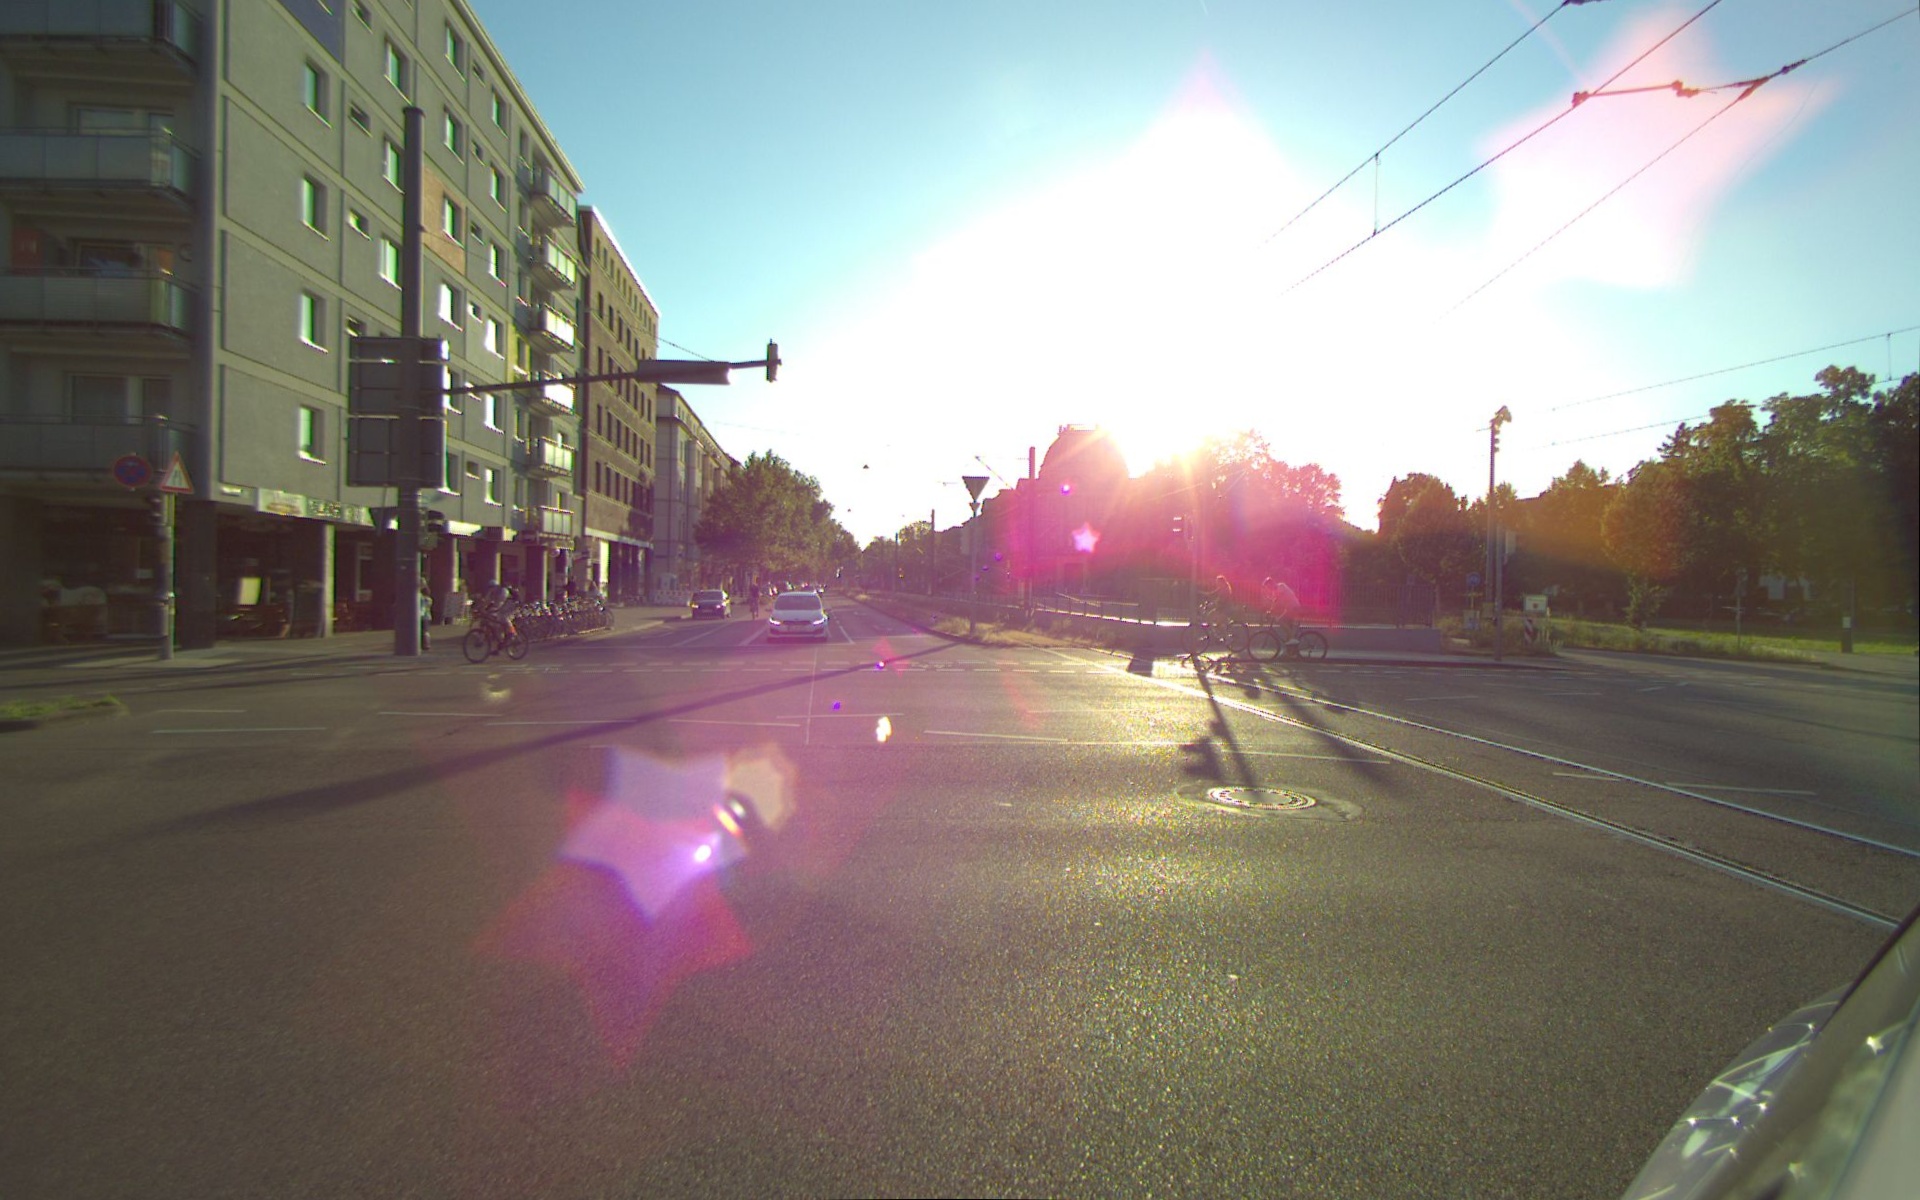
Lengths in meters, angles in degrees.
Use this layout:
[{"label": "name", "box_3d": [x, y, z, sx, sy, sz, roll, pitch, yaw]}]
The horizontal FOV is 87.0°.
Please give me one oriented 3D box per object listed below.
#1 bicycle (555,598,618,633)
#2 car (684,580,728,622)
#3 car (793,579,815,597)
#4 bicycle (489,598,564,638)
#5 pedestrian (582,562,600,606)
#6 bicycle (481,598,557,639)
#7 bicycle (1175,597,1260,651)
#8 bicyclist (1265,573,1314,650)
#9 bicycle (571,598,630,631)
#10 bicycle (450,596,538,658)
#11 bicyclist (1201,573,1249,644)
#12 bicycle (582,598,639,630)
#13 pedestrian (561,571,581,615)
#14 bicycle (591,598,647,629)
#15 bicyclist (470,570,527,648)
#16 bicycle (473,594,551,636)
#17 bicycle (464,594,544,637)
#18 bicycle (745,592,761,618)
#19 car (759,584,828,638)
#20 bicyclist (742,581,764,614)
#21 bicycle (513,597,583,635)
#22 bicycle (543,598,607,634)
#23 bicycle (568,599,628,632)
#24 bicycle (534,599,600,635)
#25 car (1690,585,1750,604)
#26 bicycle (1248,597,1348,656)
[{"label": "bicycle", "box_3d": [-12.479, 0.521, 33.837, 1.919, 1.134, 0.459, 0, 0, -4]}, {"label": "car", "box_3d": [-13.069, 0.034, 52.258, 1.958, 2.039, 4.007, 0, 0, -11]}, {"label": "car", "box_3d": [-16.427, -1.287, 106.633, 1.960, 1.772, 4.004, 1, 1, -5]}, {"label": "bicycle", "box_3d": [-12.421, 0.513, 29.014, 1.919, 1.134, 0.459, 0, 0, -4]}, {"label": "pedestrian", "box_3d": [-17.158, -0.728, 47.007, 0.642, 2.039, 0.753, 0, 0, -9]}, {"label": "bicycle", "box_3d": [-12.397, 0.511, 28.469, 1.919, 1.134, 0.459, 0, 0, -4]}, {"label": "bicycle", "box_3d": [5.878, 0.527, 23.104, 1.930, 1.197, 0.491, 0, 0, -19]}, {"label": "bicyclist", "box_3d": [6.908, 0.228, 21.249, 0.719, 1.588, 0.823, 0, 0, -2]}, {"label": "bicycle", "box_3d": [-12.652, 0.517, 35.669, 1.919, 1.134, 0.459, 0, 0, -4]}, {"label": "bicycle", "box_3d": [-9.595, 0.531, 20.920, 0.484, 1.197, 1.961, 0, 0, 17]}, {"label": "bicyclist", "box_3d": [6.049, 0.194, 23.144, 0.718, 1.588, 0.825, 0, 0, -19]}, {"label": "bicycle", "box_3d": [-12.652, 0.496, 36.667, 1.919, 1.134, 0.459, 0, 0, -4]}, {"label": "pedestrian", "box_3d": [-18.053, -0.323, 46.969, 0.703, 2.039, 0.647, 1, 0, -6]}, {"label": "bicycle", "box_3d": [-12.602, 0.486, 37.424, 1.919, 1.134, 0.459, 0, 0, -4]}, {"label": "bicyclist", "box_3d": [-9.566, 0.183, 20.992, 0.813, 1.588, 0.729, 0, 0, 20]}, {"label": "bicycle", "box_3d": [-12.350, 0.405, 27.938, 1.919, 1.134, 0.459, 0, 0, -4]}, {"label": "bicycle", "box_3d": [-12.323, 0.416, 27.385, 1.919, 1.134, 0.459, 0, 0, -4]}, {"label": "bicycle", "box_3d": [-9.953, 0.244, 48.688, 0.564, 1.215, 2.209, 0, 0, -7]}, {"label": "car", "box_3d": [-4.984, 0.289, 30.380, 1.916, 1.512, 3.965, 0, 0, -9]}, {"label": "bicyclist", "box_3d": [-9.936, -0.133, 48.661, 0.976, 1.557, 0.924, 0, 0, -6]}, {"label": "bicycle", "box_3d": [-12.435, 0.479, 30.546, 1.919, 1.134, 0.459, 0, 0, -4]}, {"label": "bicycle", "box_3d": [-12.585, 0.514, 33.084, 1.919, 1.134, 0.459, 0, 0, -4]}, {"label": "bicycle", "box_3d": [-12.546, 0.527, 35.069, 1.919, 1.134, 0.459, 0, 0, -4]}, {"label": "bicycle", "box_3d": [-12.450, 0.528, 32.099, 1.919, 1.134, 0.459, 0, 0, -4]}, {"label": "car", "box_3d": [72.444, -0.531, 96.522, 1.962, 1.845, 4.132, 0, 0, -34]}, {"label": "bicycle", "box_3d": [7.091, 0.544, 21.270, 1.933, 1.197, 0.491, 1, 0, -3]}]
